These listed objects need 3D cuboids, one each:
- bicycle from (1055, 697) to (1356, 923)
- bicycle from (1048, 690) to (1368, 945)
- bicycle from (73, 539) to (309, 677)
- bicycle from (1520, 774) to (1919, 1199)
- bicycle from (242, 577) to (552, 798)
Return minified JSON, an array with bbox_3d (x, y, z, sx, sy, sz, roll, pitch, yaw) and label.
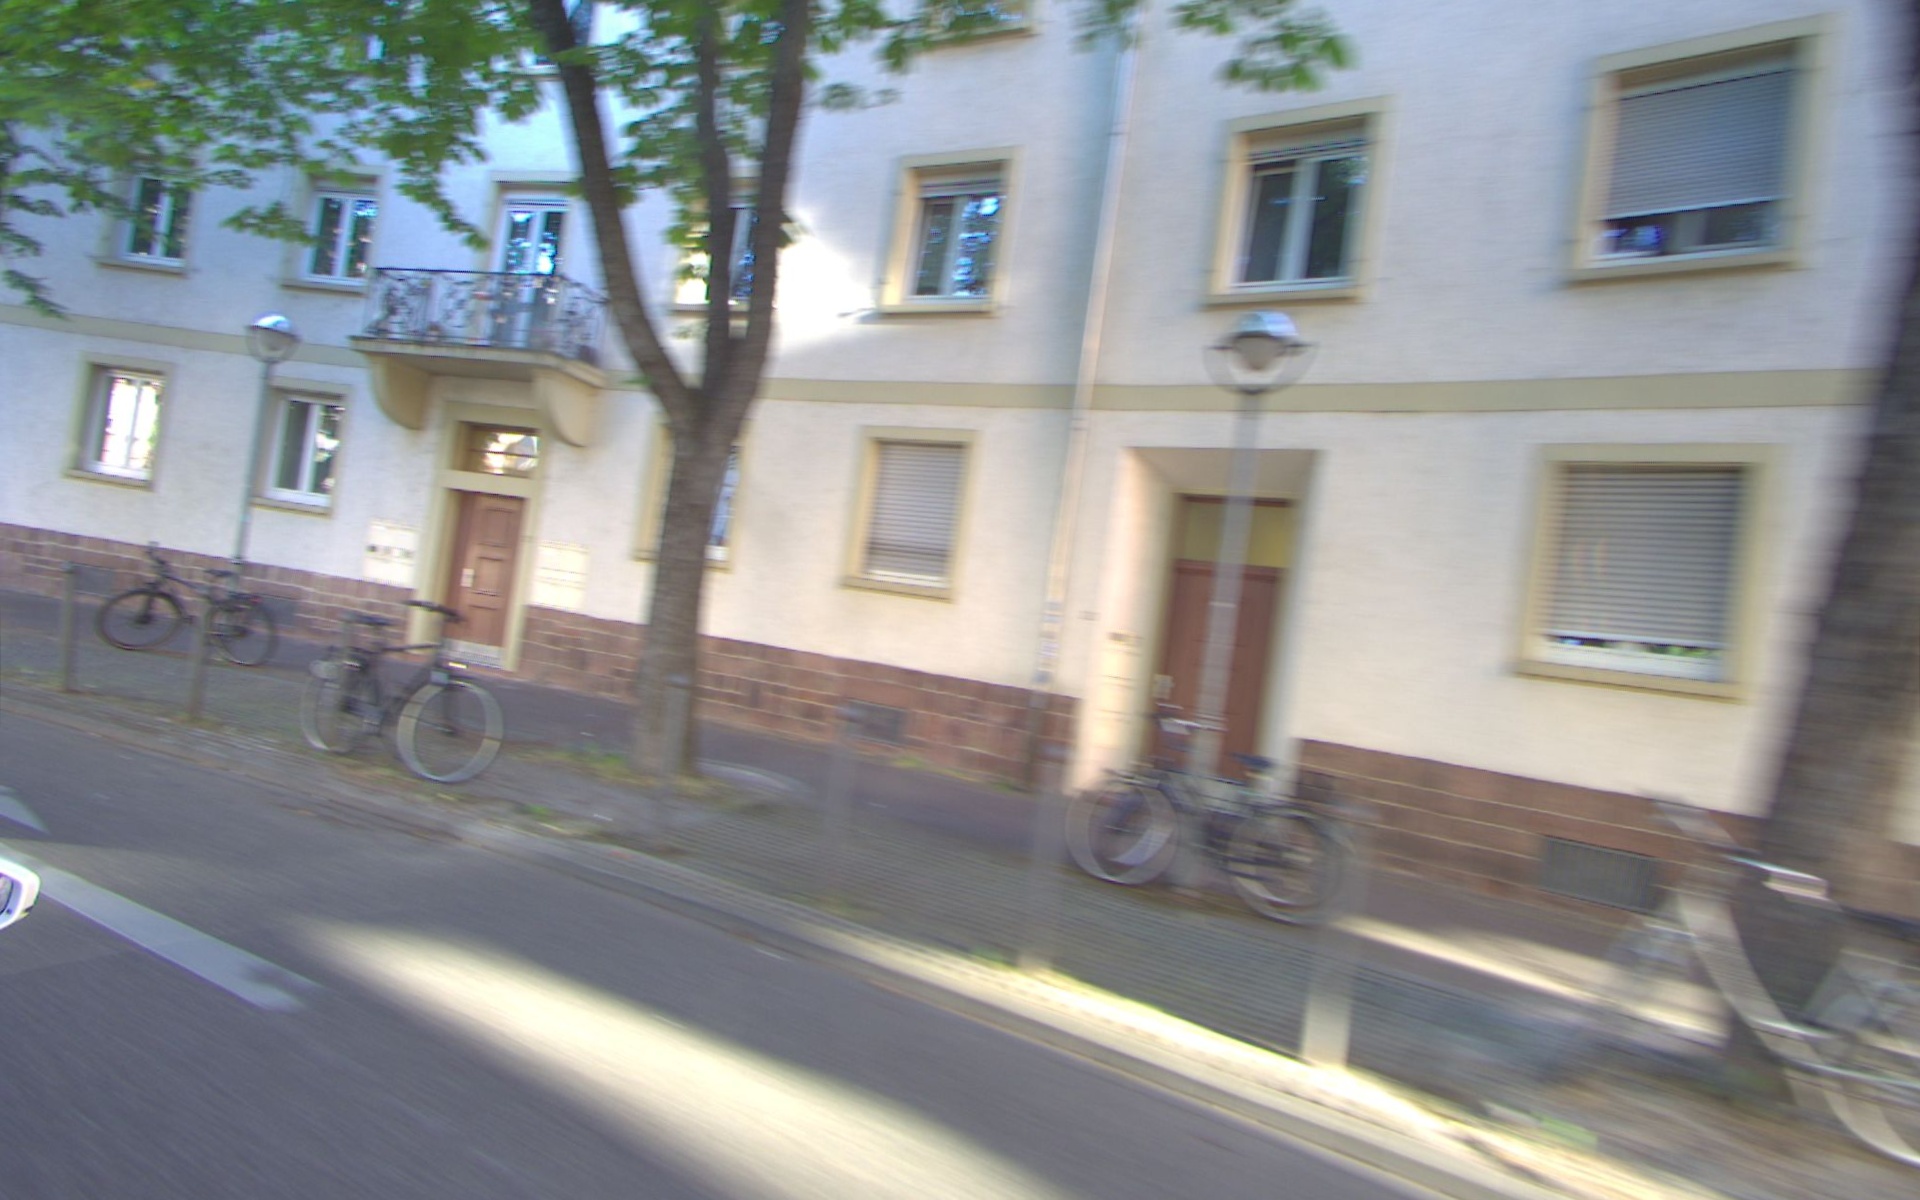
[{"bbox_3d":[1.611,1.344,6.704,1.769,1.121,0.392,8,-1,20],"label":"bicycle"},{"bbox_3d":[1.527,1.293,6.279,1.752,1.194,0.439,8,-1,22],"label":"bicycle"},{"bbox_3d":[-8.028,0.089,10.567,1.790,1.197,0.672,7,1,-7],"label":"bicycle"},{"bbox_3d":[3.179,1.417,3.714,1.757,1.195,0.556,8,-2,22],"label":"bicycle"},{"bbox_3d":[-3.896,0.562,6.941,1.964,1.172,0.682,7,-1,23],"label":"bicycle"}]
